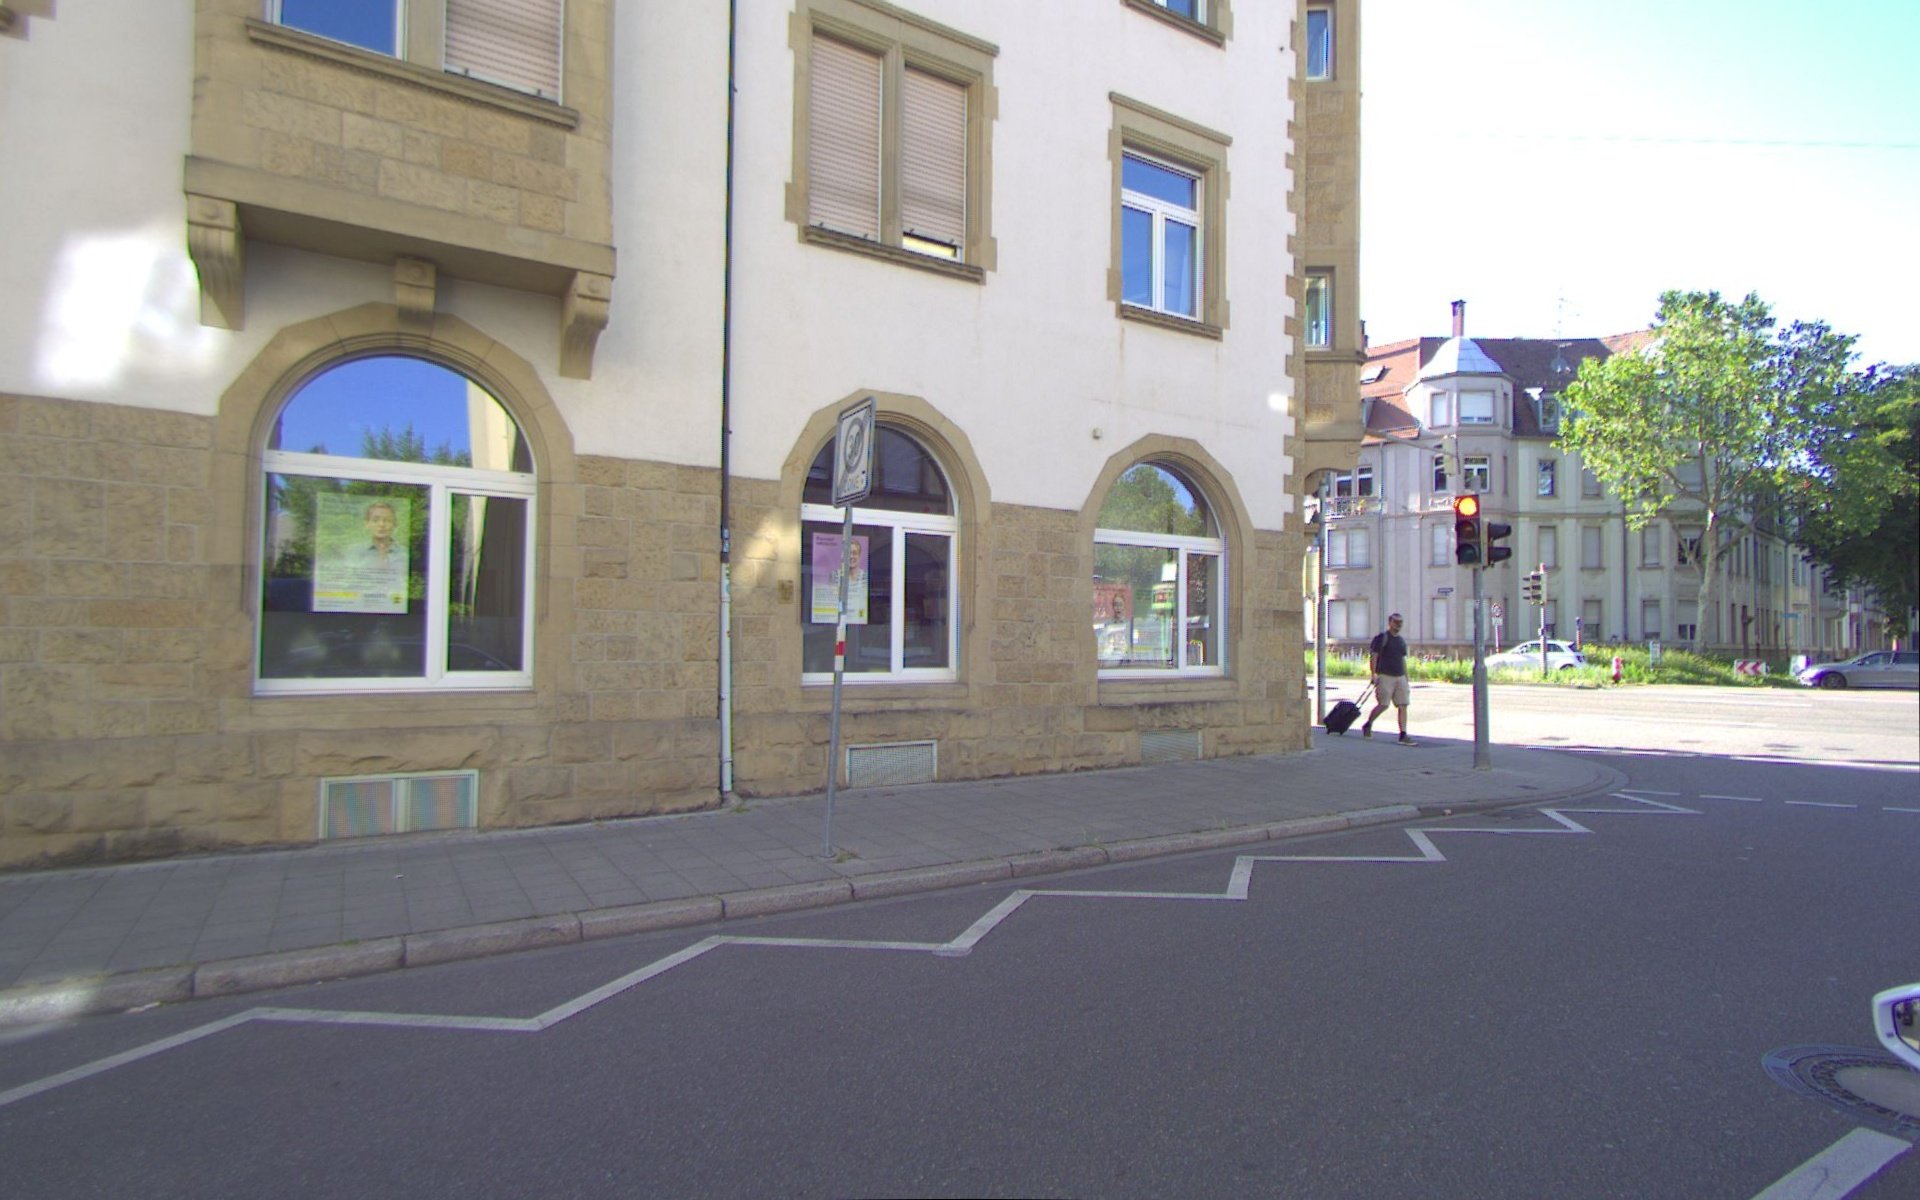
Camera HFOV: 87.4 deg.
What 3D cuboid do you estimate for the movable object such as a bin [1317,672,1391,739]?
[{"bbox_3d":[5.707,1.505,14.554,0.506,0.904,0.854,2,-3,-42],"label":"movable object such as a bin"}]

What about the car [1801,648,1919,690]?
[{"bbox_3d":[31.540,2.336,34.289,4.336,1.334,1.638,-1,-2,41],"label":"car"}]

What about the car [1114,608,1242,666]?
[{"bbox_3d":[10.658,1.780,49.409,6.040,2.672,1.886,-1,-2,42],"label":"car"}]

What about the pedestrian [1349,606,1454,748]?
[{"bbox_3d":[6.233,1.067,14.197,0.743,1.872,1.056,5,-2,-42],"label":"pedestrian"}]

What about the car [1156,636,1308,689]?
[{"bbox_3d":[8.177,1.836,30.451,4.155,1.476,1.669,-2,-2,42],"label":"car"}]

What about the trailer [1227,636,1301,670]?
[{"bbox_3d":[13.998,2.410,46.334,2.914,1.476,1.506,-1,-2,42],"label":"trailer"}]

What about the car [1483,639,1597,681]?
[{"bbox_3d":[22.253,2.278,38.596,3.589,1.476,1.496,-1,-2,41],"label":"car"}]
